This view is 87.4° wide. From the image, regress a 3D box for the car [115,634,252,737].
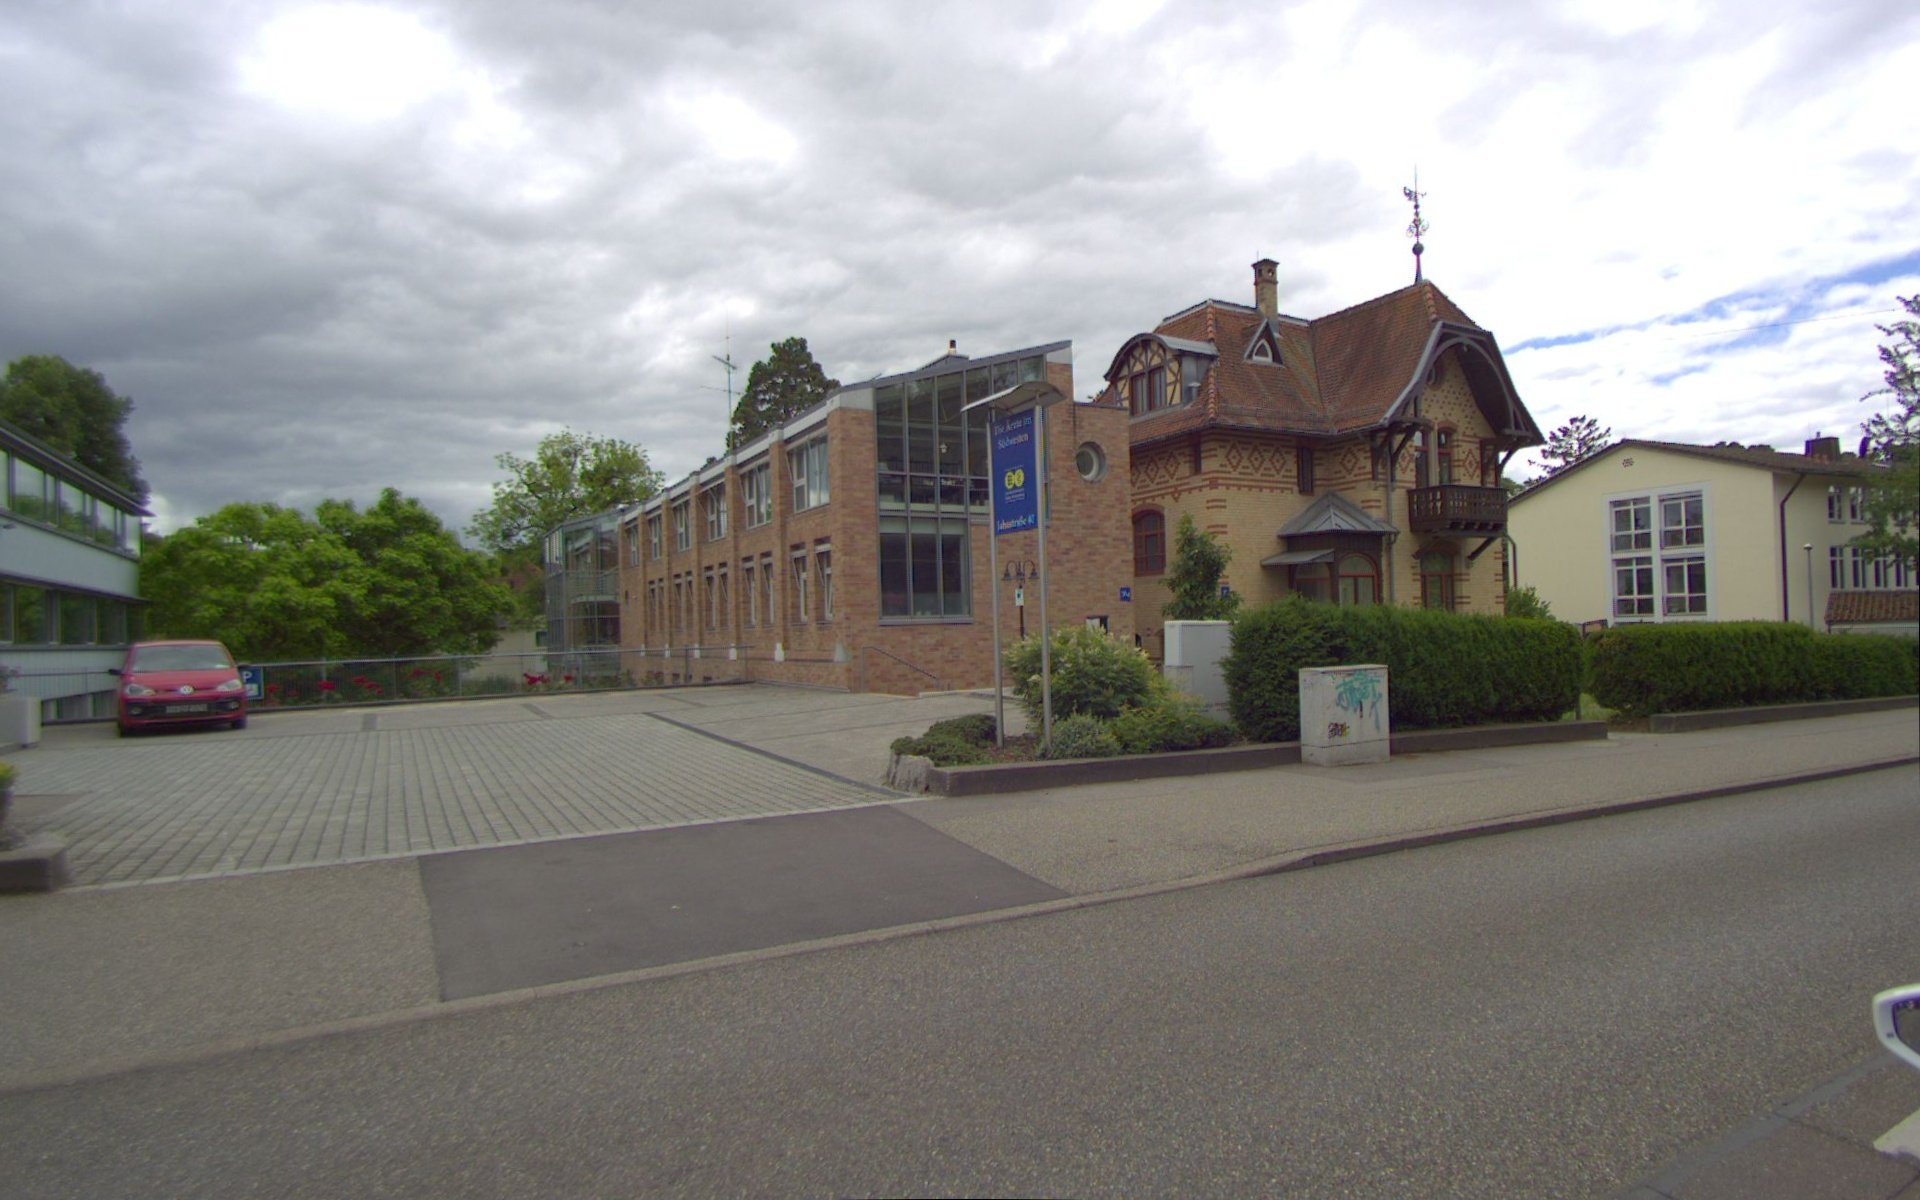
[{"bbox_3d":[-13.103,1.346,16.891,1.644,1.511,3.416,0,-1,-41],"label":"car"}]
